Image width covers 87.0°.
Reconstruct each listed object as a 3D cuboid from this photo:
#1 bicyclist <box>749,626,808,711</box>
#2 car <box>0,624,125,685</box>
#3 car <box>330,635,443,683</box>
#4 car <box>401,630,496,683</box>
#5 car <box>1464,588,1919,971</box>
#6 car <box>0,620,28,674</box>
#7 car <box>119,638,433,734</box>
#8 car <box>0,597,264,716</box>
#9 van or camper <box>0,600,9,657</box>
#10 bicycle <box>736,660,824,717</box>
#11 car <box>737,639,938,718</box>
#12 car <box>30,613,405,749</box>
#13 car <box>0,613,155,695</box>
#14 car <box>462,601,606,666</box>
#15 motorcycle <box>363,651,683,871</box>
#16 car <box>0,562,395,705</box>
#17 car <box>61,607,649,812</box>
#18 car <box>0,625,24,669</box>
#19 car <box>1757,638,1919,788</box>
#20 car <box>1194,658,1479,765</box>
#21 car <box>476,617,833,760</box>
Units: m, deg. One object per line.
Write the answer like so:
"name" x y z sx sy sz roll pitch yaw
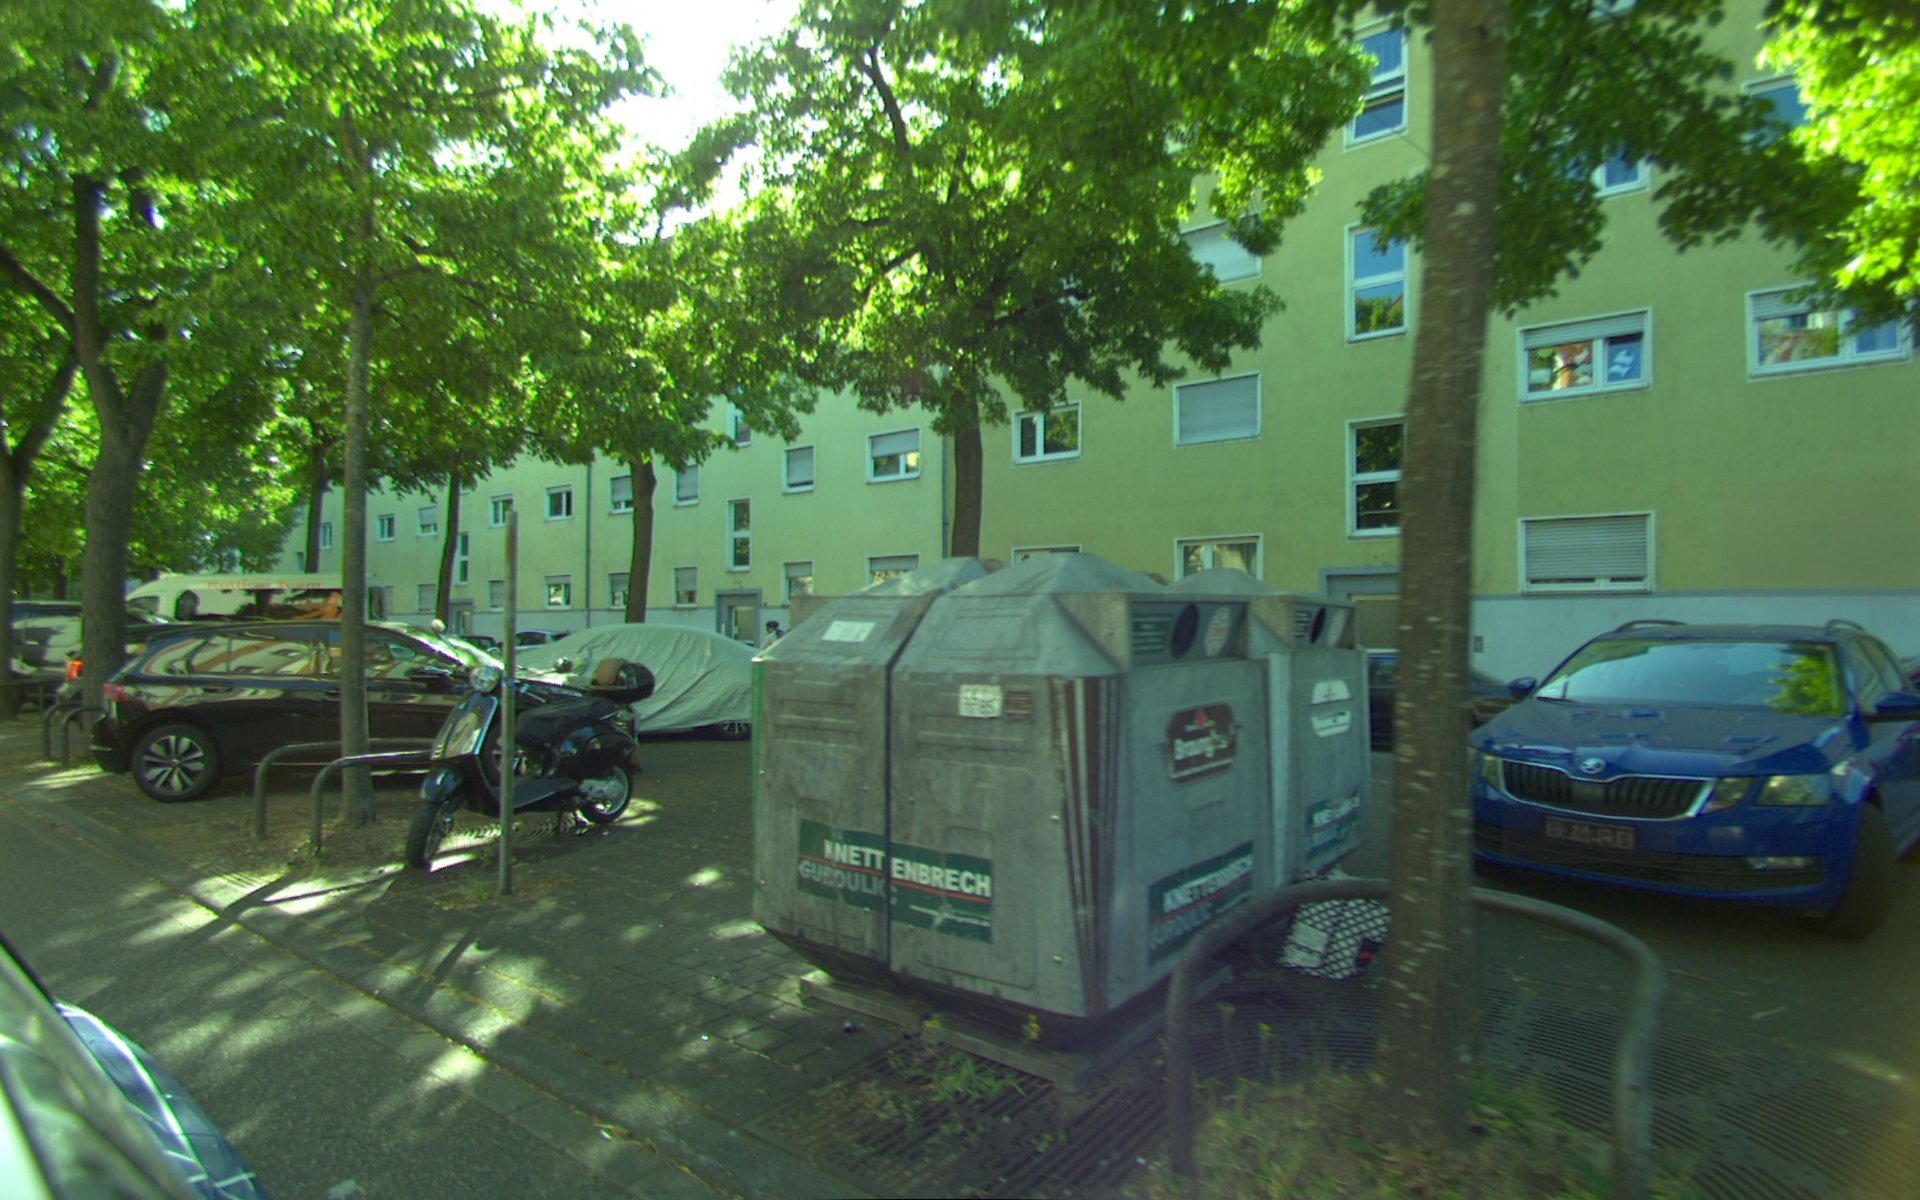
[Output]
"bicyclist" -3.584 1.329 20.007 0.927 1.634 0.708 -1 -2 38
"car" -24.038 1.362 25.670 4.038 1.492 1.737 0 -1 -21
"car" -20.090 2.029 35.385 4.152 1.577 1.875 -2 -4 36
"car" -16.477 1.774 32.583 3.178 1.571 1.461 -2 0 37
"car" 4.527 0.763 5.797 3.741 1.477 1.647 2 -3 -42
"car" -30.166 1.417 29.807 3.630 1.608 1.778 -1 -1 -27
"car" -9.770 1.189 14.789 3.505 1.257 1.663 1 -2 -22
"car" -14.499 0.941 17.391 3.785 1.903 1.849 0 -2 -17
"van or camper" -50.176 1.443 48.556 6.197 2.846 2.415 -1 -1 -23
"bicycle" -3.570 1.717 19.967 1.912 1.042 0.594 -2 -3 39
"car" -2.661 1.630 21.608 4.137 1.506 1.757 -1 -5 36
"car" -9.547 0.983 13.377 3.673 1.594 1.641 0 -1 -21
"car" -20.119 1.143 21.650 4.202 1.654 1.660 -1 -1 -19
"car" -12.249 0.976 29.023 4.550 1.736 1.725 -2 -4 37
"motorcycle" -2.701 0.928 6.507 0.517 1.180 1.923 -1 -3 32
"car" -15.246 0.751 20.719 5.980 2.643 2.462 1 -4 -18
"car" -5.007 0.878 8.999 4.086 1.566 1.837 0 -2 -10
"car" -34.735 1.640 34.074 4.553 1.497 1.765 0 -1 -37
"car" 10.999 1.168 10.531 4.159 1.538 1.515 -2 -3 37
"car" 5.473 1.563 14.915 3.636 1.331 1.570 -2 -4 38
"car" -3.814 0.984 12.672 4.031 1.477 1.873 0 0 -25
